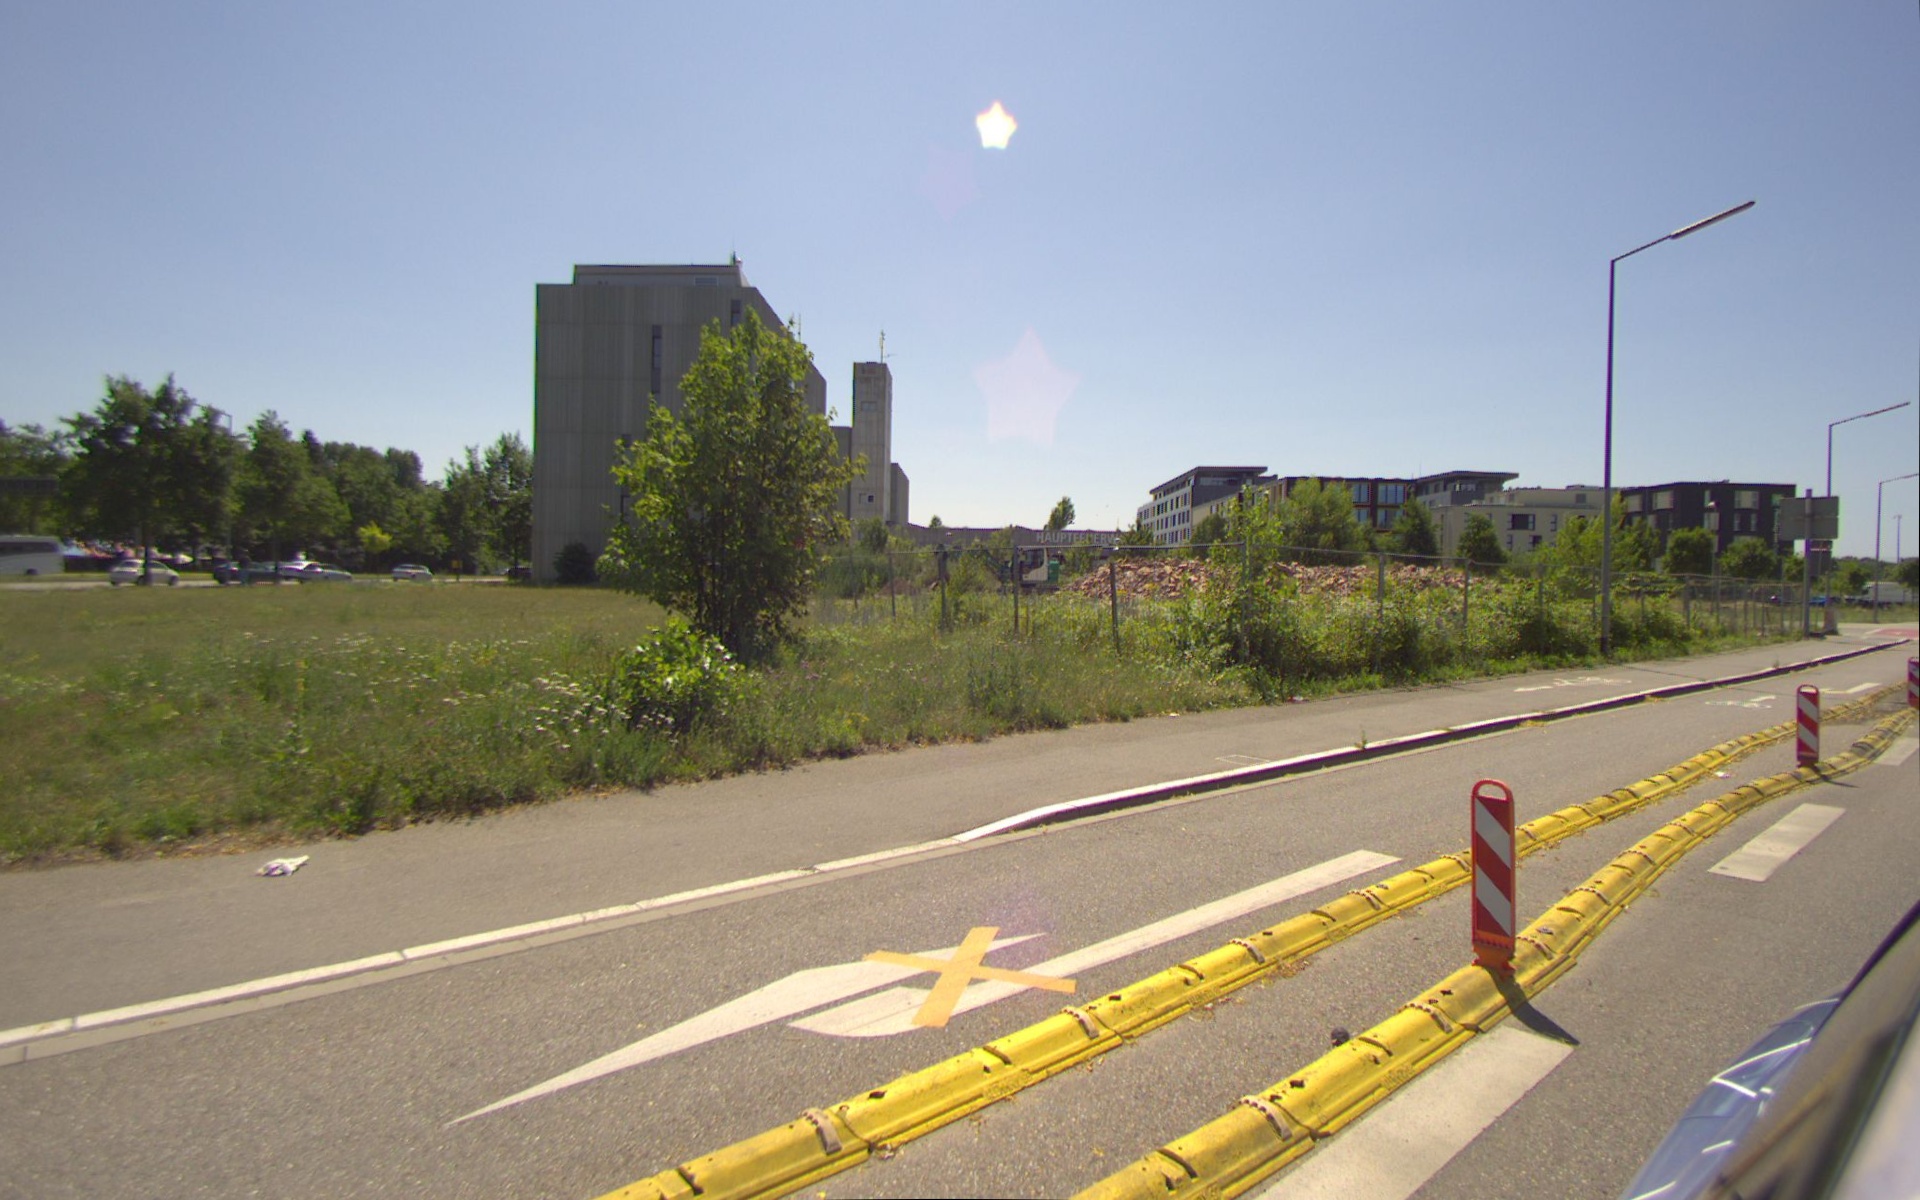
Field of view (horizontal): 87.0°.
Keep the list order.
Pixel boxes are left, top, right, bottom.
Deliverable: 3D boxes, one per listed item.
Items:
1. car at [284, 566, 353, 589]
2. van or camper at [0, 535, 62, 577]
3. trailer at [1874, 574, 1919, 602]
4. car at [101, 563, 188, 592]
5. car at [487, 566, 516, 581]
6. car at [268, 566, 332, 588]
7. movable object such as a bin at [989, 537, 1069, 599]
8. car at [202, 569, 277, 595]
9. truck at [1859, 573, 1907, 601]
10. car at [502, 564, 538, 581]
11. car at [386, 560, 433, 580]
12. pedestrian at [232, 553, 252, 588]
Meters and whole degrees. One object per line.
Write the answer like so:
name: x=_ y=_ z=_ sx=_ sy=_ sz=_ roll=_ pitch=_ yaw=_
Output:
car: x=-43.984 y=-1.561 z=69.494 sx=1.965 sy=1.523 sz=4.069 roll=0 pitch=1 yaw=6
van or camper: x=-62.932 y=-2.862 z=65.862 sx=2.465 sy=2.727 sz=7.516 roll=0 pitch=1 yaw=-2
trailer: x=118.308 y=-1.489 z=125.310 sx=8.030 sy=3.390 sz=1.998 roll=1 pitch=1 yaw=4
car: x=-46.741 y=-1.274 z=58.119 sx=1.708 sy=1.571 sz=3.999 roll=0 pitch=1 yaw=1
car: x=-61.701 y=-3.555 z=136.199 sx=1.963 sy=1.838 sz=3.998 roll=0 pitch=1 yaw=2
car: x=-49.436 y=-1.701 z=75.885 sx=1.708 sy=1.571 sz=4.641 roll=0 pitch=1 yaw=1
movable object such as a bin: x=3.609 y=-1.634 z=52.809 sx=3.619 sy=3.101 sz=2.207 roll=0 pitch=1 yaw=-36
car: x=-46.887 y=-1.163 z=65.981 sx=1.707 sy=1.572 sz=4.407 roll=0 pitch=-1 yaw=0
truck: x=114.512 y=-1.607 z=125.606 sx=3.928 sy=3.377 sz=1.998 roll=1 pitch=1 yaw=4
car: x=-43.527 y=-2.712 z=100.160 sx=1.708 sy=1.571 sz=3.999 roll=0 pitch=1 yaw=1
car: x=-46.341 y=-2.519 z=85.228 sx=1.708 sy=1.571 sz=3.999 roll=0 pitch=1 yaw=1
pedestrian: x=-35.730 y=-1.456 z=50.377 sx=0.489 sy=1.712 sz=0.737 roll=0 pitch=0 yaw=-1
